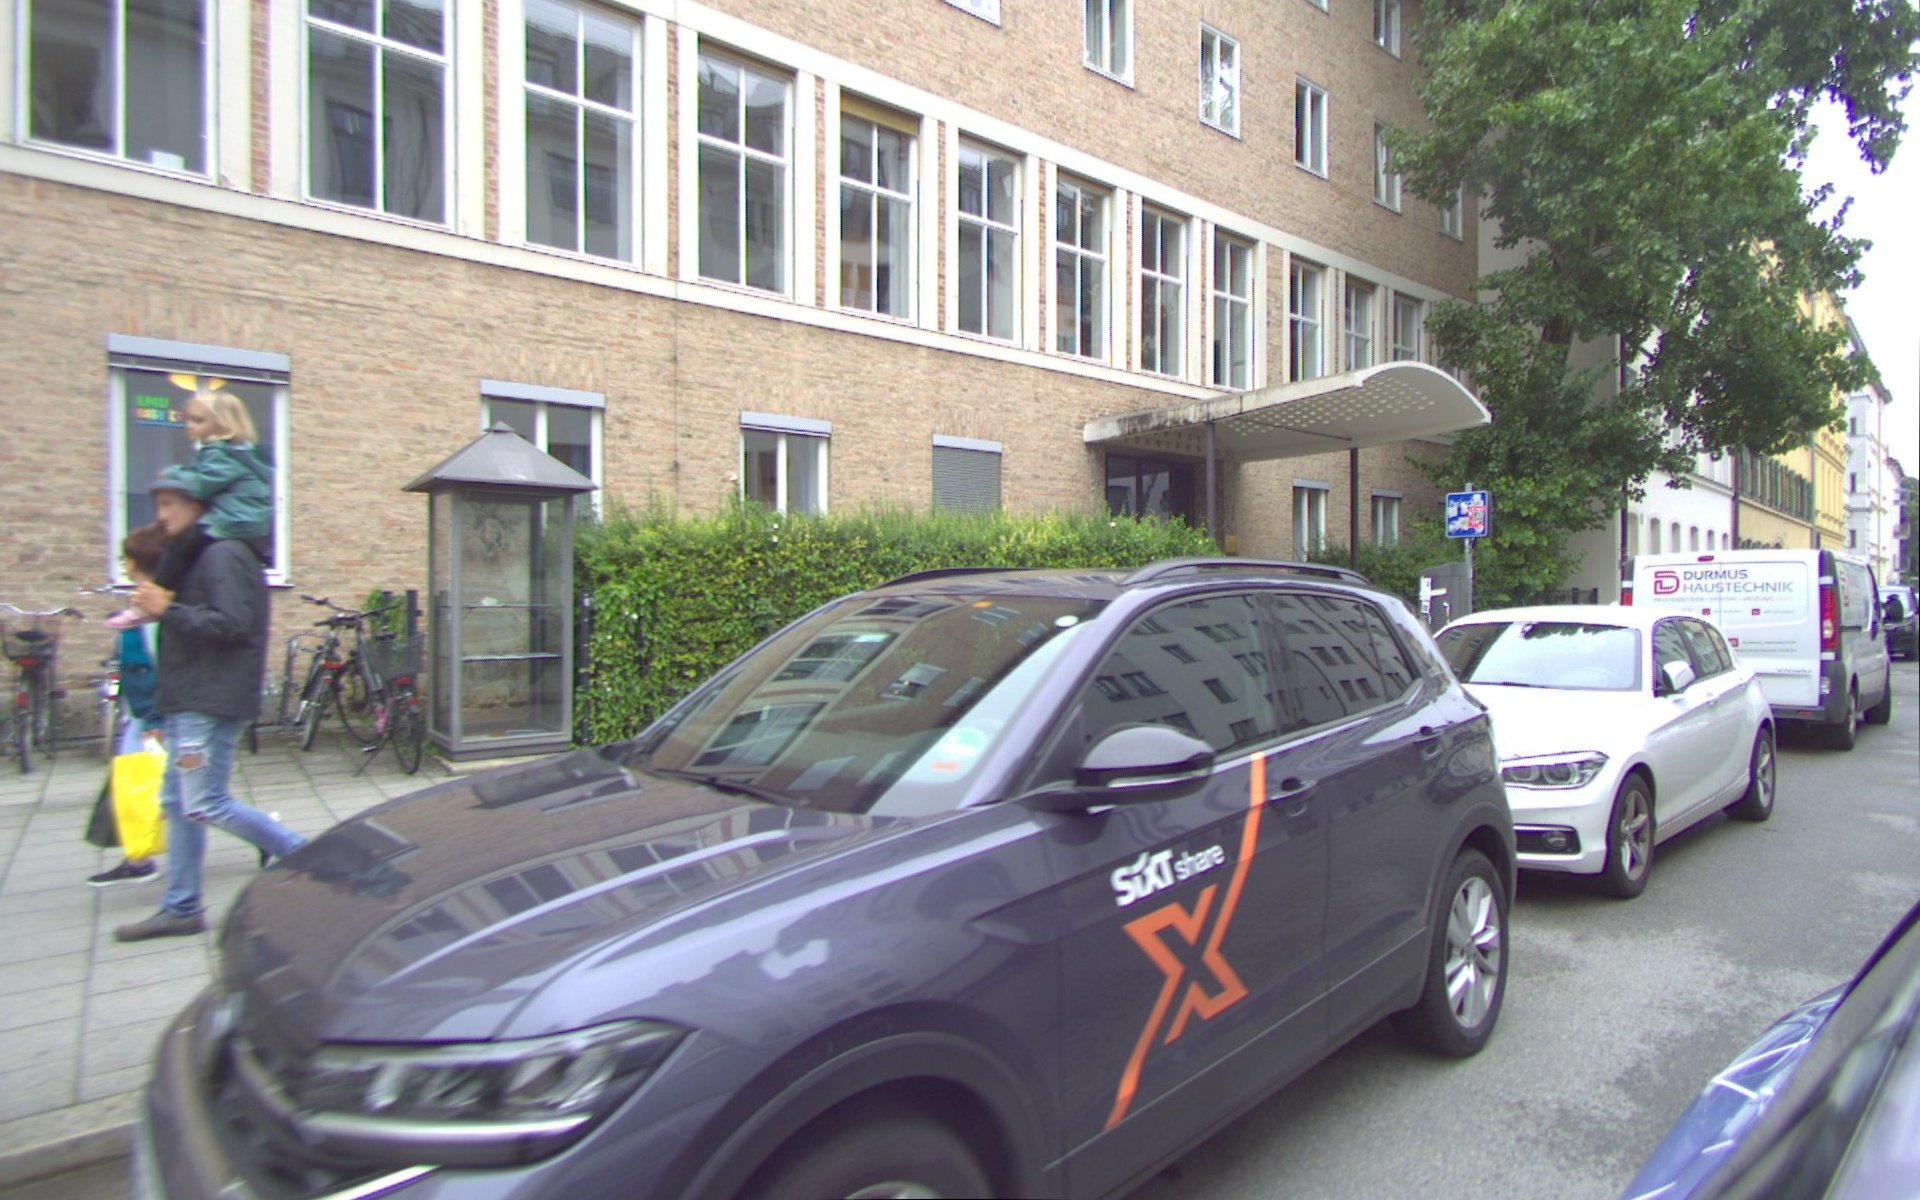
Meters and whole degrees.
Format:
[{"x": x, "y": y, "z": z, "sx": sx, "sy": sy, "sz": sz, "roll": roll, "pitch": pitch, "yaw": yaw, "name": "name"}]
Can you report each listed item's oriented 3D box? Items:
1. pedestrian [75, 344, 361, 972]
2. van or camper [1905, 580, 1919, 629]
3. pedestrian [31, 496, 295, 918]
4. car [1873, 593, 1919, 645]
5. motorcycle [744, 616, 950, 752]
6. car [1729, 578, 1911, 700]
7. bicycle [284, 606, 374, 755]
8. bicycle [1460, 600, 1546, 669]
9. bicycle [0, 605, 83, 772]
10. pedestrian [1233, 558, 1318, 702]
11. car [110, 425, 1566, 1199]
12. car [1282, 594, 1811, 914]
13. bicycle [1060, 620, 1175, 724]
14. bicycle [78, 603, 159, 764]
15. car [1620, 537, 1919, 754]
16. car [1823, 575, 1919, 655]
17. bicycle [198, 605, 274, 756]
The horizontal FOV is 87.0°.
[{"x": -2.933, "y": 0.197, "z": 4.111, "sx": 0.779, "sy": 2.224, "sz": 0.815, "roll": 0, "pitch": 2, "yaw": -25, "name": "pedestrian"}, {"x": 42.288, "y": 0.194, "z": 43.721, "sx": 1.994, "sy": 2.039, "sz": 5.147, "roll": 1, "pitch": 0, "yaw": 45, "name": "van or camper"}, {"x": -3.580, "y": 0.421, "z": 4.638, "sx": 0.736, "sy": 1.714, "sz": 0.862, "roll": 0, "pitch": 2, "yaw": -22, "name": "pedestrian"}, {"x": 28.010, "y": 0.512, "z": 29.621, "sx": 1.714, "sy": 1.442, "sz": 4.386, "roll": 0, "pitch": 1, "yaw": 45, "name": "car"}, {"x": -0.952, "y": 0.687, "z": 8.941, "sx": 1.891, "sy": 1.067, "sz": 0.489, "roll": 0, "pitch": -1, "yaw": -43, "name": "motorcycle"}, {"x": 13.338, "y": 0.502, "z": 15.613, "sx": 4.146, "sy": 1.620, "sz": 1.809, "roll": 0, "pitch": 0, "yaw": -45, "name": "car"}, {"x": -5.203, "y": 0.609, "z": 8.309, "sx": 0.342, "sy": 1.055, "sz": 1.632, "roll": 0, "pitch": 1, "yaw": -42, "name": "bicycle"}, {"x": 9.321, "y": 0.558, "z": 17.329, "sx": 2.187, "sy": 1.087, "sz": 0.670, "roll": 0, "pitch": 1, "yaw": -44, "name": "bicycle"}, {"x": -6.765, "y": 0.588, "z": 7.417, "sx": 0.342, "sy": 1.055, "sz": 1.635, "roll": 0, "pitch": 1, "yaw": -35, "name": "bicycle"}, {"x": 3.768, "y": 0.344, "z": 12.080, "sx": 0.861, "sy": 1.653, "sz": 0.589, "roll": 0, "pitch": -1, "yaw": -38, "name": "pedestrian"}, {"x": 0.125, "y": 0.627, "z": 2.916, "sx": 3.889, "sy": 1.614, "sz": 1.749, "roll": -1, "pitch": 0, "yaw": -43, "name": "car"}, {"x": 3.975, "y": 0.691, "z": 6.552, "sx": 4.127, "sy": 1.435, "sz": 1.676, "roll": 0, "pitch": 0, "yaw": -40, "name": "car"}, {"x": 1.780, "y": 0.769, "z": 11.305, "sx": 1.462, "sy": 1.067, "sz": 0.422, "roll": 0, "pitch": -1, "yaw": -40, "name": "bicycle"}, {"x": -6.390, "y": 0.575, "z": 7.722, "sx": 0.342, "sy": 1.055, "sz": 1.635, "roll": 0, "pitch": 1, "yaw": -35, "name": "bicycle"}, {"x": 9.259, "y": 0.391, "z": 11.418, "sx": 4.790, "sy": 1.948, "sz": 1.885, "roll": 0, "pitch": 0, "yaw": -42, "name": "car"}, {"x": 22.602, "y": 0.341, "z": 24.686, "sx": 4.131, "sy": 1.799, "sz": 1.848, "roll": -1, "pitch": -1, "yaw": -43, "name": "car"}, {"x": -5.836, "y": 0.593, "z": 8.132, "sx": 0.342, "sy": 1.055, "sz": 1.633, "roll": 0, "pitch": 1, "yaw": -41, "name": "bicycle"}]
